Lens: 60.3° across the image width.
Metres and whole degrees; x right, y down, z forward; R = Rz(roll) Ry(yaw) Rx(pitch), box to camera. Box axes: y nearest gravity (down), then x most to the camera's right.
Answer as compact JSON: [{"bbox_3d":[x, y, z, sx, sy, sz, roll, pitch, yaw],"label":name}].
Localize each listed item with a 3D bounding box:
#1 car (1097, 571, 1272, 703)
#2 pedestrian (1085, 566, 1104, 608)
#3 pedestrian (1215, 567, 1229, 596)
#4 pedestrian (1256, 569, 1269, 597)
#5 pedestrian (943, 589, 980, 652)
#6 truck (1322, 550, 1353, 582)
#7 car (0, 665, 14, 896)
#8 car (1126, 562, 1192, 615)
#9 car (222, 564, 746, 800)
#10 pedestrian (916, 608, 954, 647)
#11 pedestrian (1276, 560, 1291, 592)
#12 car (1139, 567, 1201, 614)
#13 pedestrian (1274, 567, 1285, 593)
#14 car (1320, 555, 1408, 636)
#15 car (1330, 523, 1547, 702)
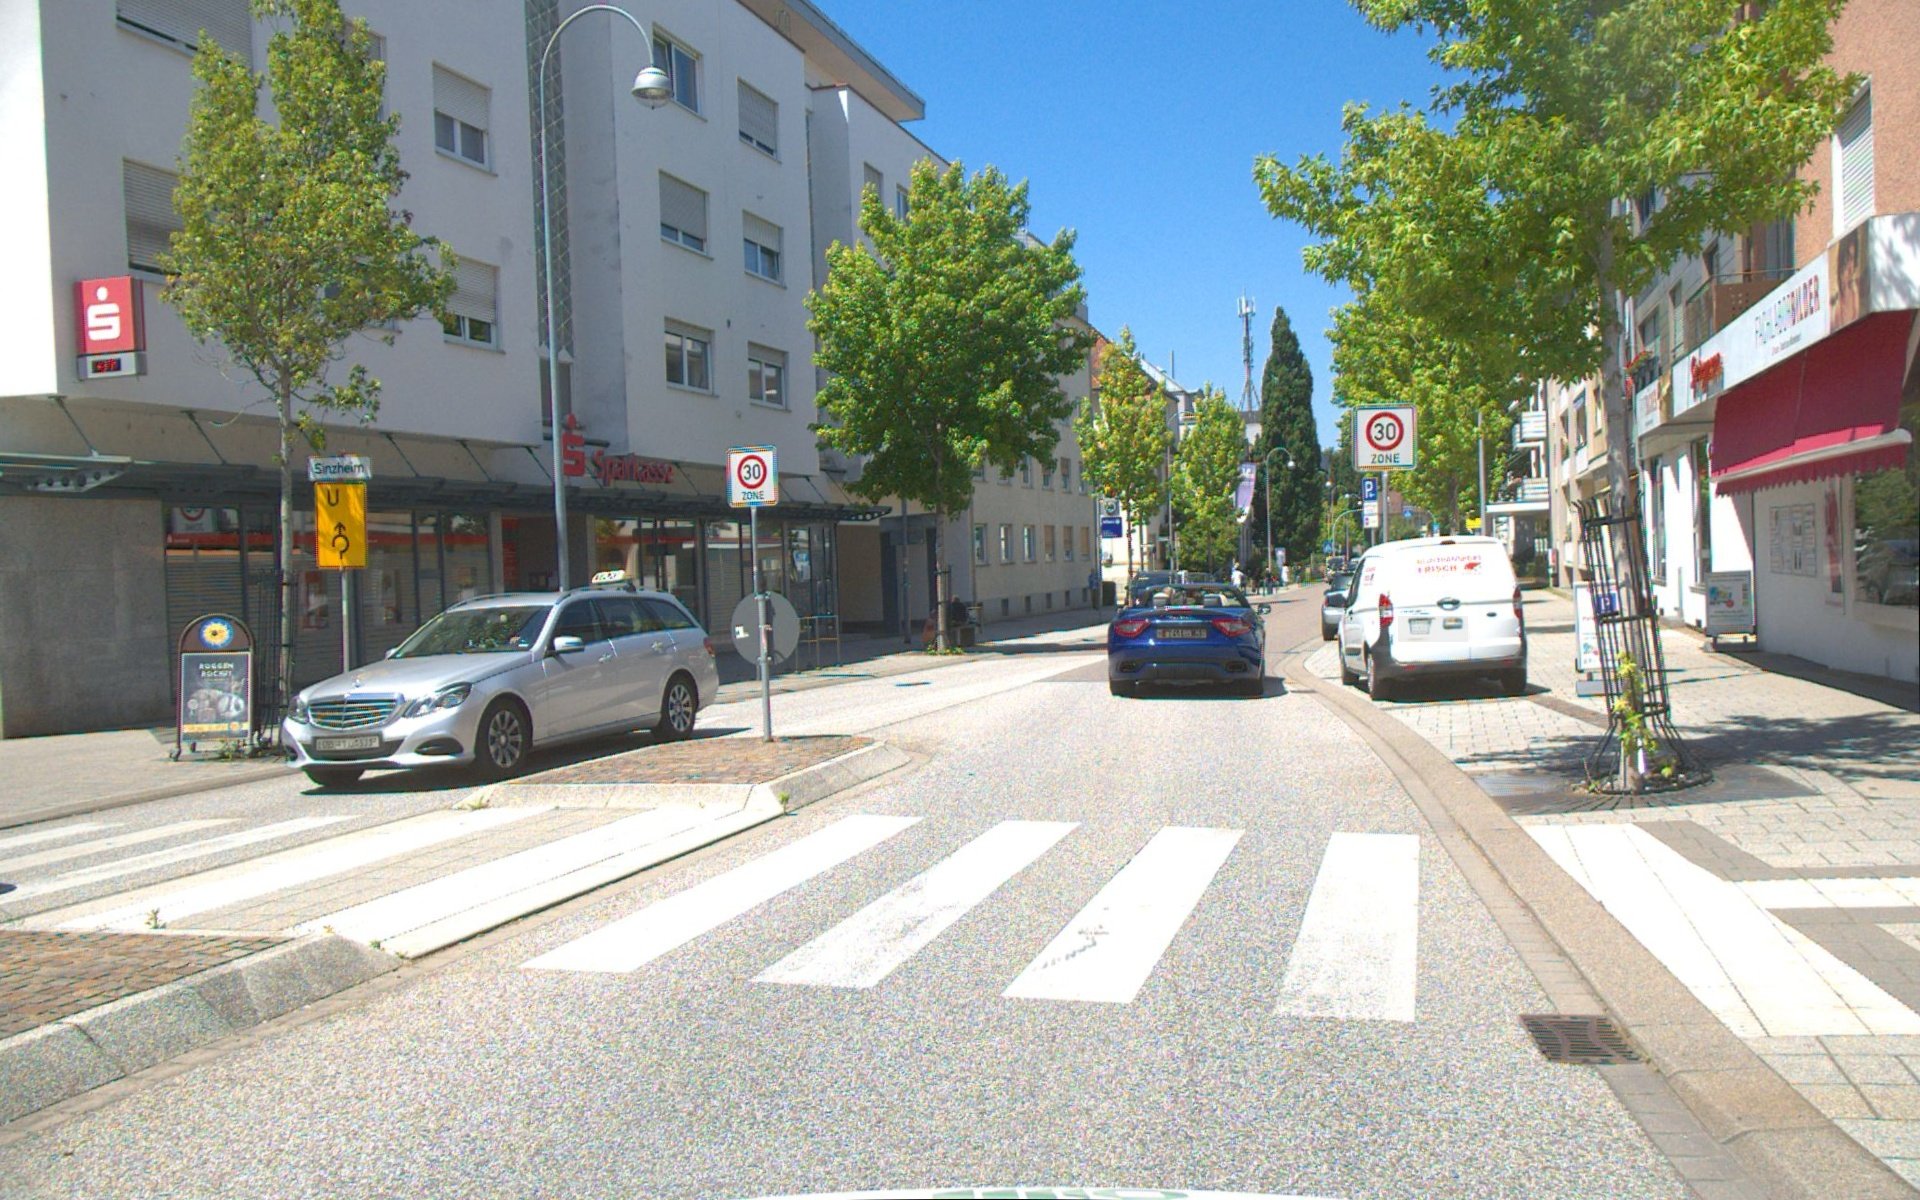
[{"bbox_3d":[2.906,0.387,21.093,1.934,1.422,4.631,-1,1,9],"label":"car"},{"bbox_3d":[5.649,-0.560,69.442,0.642,1.709,0.631,-4,2,-1],"label":"pedestrian"},{"bbox_3d":[13.770,-0.992,86.945,0.567,1.500,0.565,-2,1,16],"label":"pedestrian"},{"bbox_3d":[16.379,-0.938,89.476,0.567,1.500,0.565,-2,1,16],"label":"pedestrian"},{"bbox_3d":[0.032,0.463,38.139,0.556,1.396,0.666,-3,0,26],"label":"pedestrian"},{"bbox_3d":[27.972,-2.508,122.495,1.766,2.154,4.719,-4,1,17],"label":"truck"},{"bbox_3d":[-6.531,0.930,7.355,1.664,1.483,3.791,-3,0,20],"label":"car"},{"bbox_3d":[7.155,-0.463,59.161,1.692,1.770,4.396,1,2,15],"label":"car"},{"bbox_3d":[-3.955,0.591,14.867,1.952,1.620,5.002,-3,1,19],"label":"car"},{"bbox_3d":[-0.593,0.662,39.413,0.651,0.873,0.732,-3,-3,26],"label":"pedestrian"},{"bbox_3d":[20.671,-1.518,105.677,0.831,1.948,0.762,-4,3,15],"label":"pedestrian"},{"bbox_3d":[8.201,-0.388,64.213,1.785,1.647,4.396,-1,2,15],"label":"car"},{"bbox_3d":[20.479,-1.293,105.872,0.574,1.601,0.782,-2,1,16],"label":"pedestrian"},{"bbox_3d":[8.785,-0.131,35.788,1.588,1.586,3.843,-3,1,17],"label":"car"},{"bbox_3d":[5.456,0.105,19.328,1.710,1.754,3.913,-4,0,7],"label":"car"}]
